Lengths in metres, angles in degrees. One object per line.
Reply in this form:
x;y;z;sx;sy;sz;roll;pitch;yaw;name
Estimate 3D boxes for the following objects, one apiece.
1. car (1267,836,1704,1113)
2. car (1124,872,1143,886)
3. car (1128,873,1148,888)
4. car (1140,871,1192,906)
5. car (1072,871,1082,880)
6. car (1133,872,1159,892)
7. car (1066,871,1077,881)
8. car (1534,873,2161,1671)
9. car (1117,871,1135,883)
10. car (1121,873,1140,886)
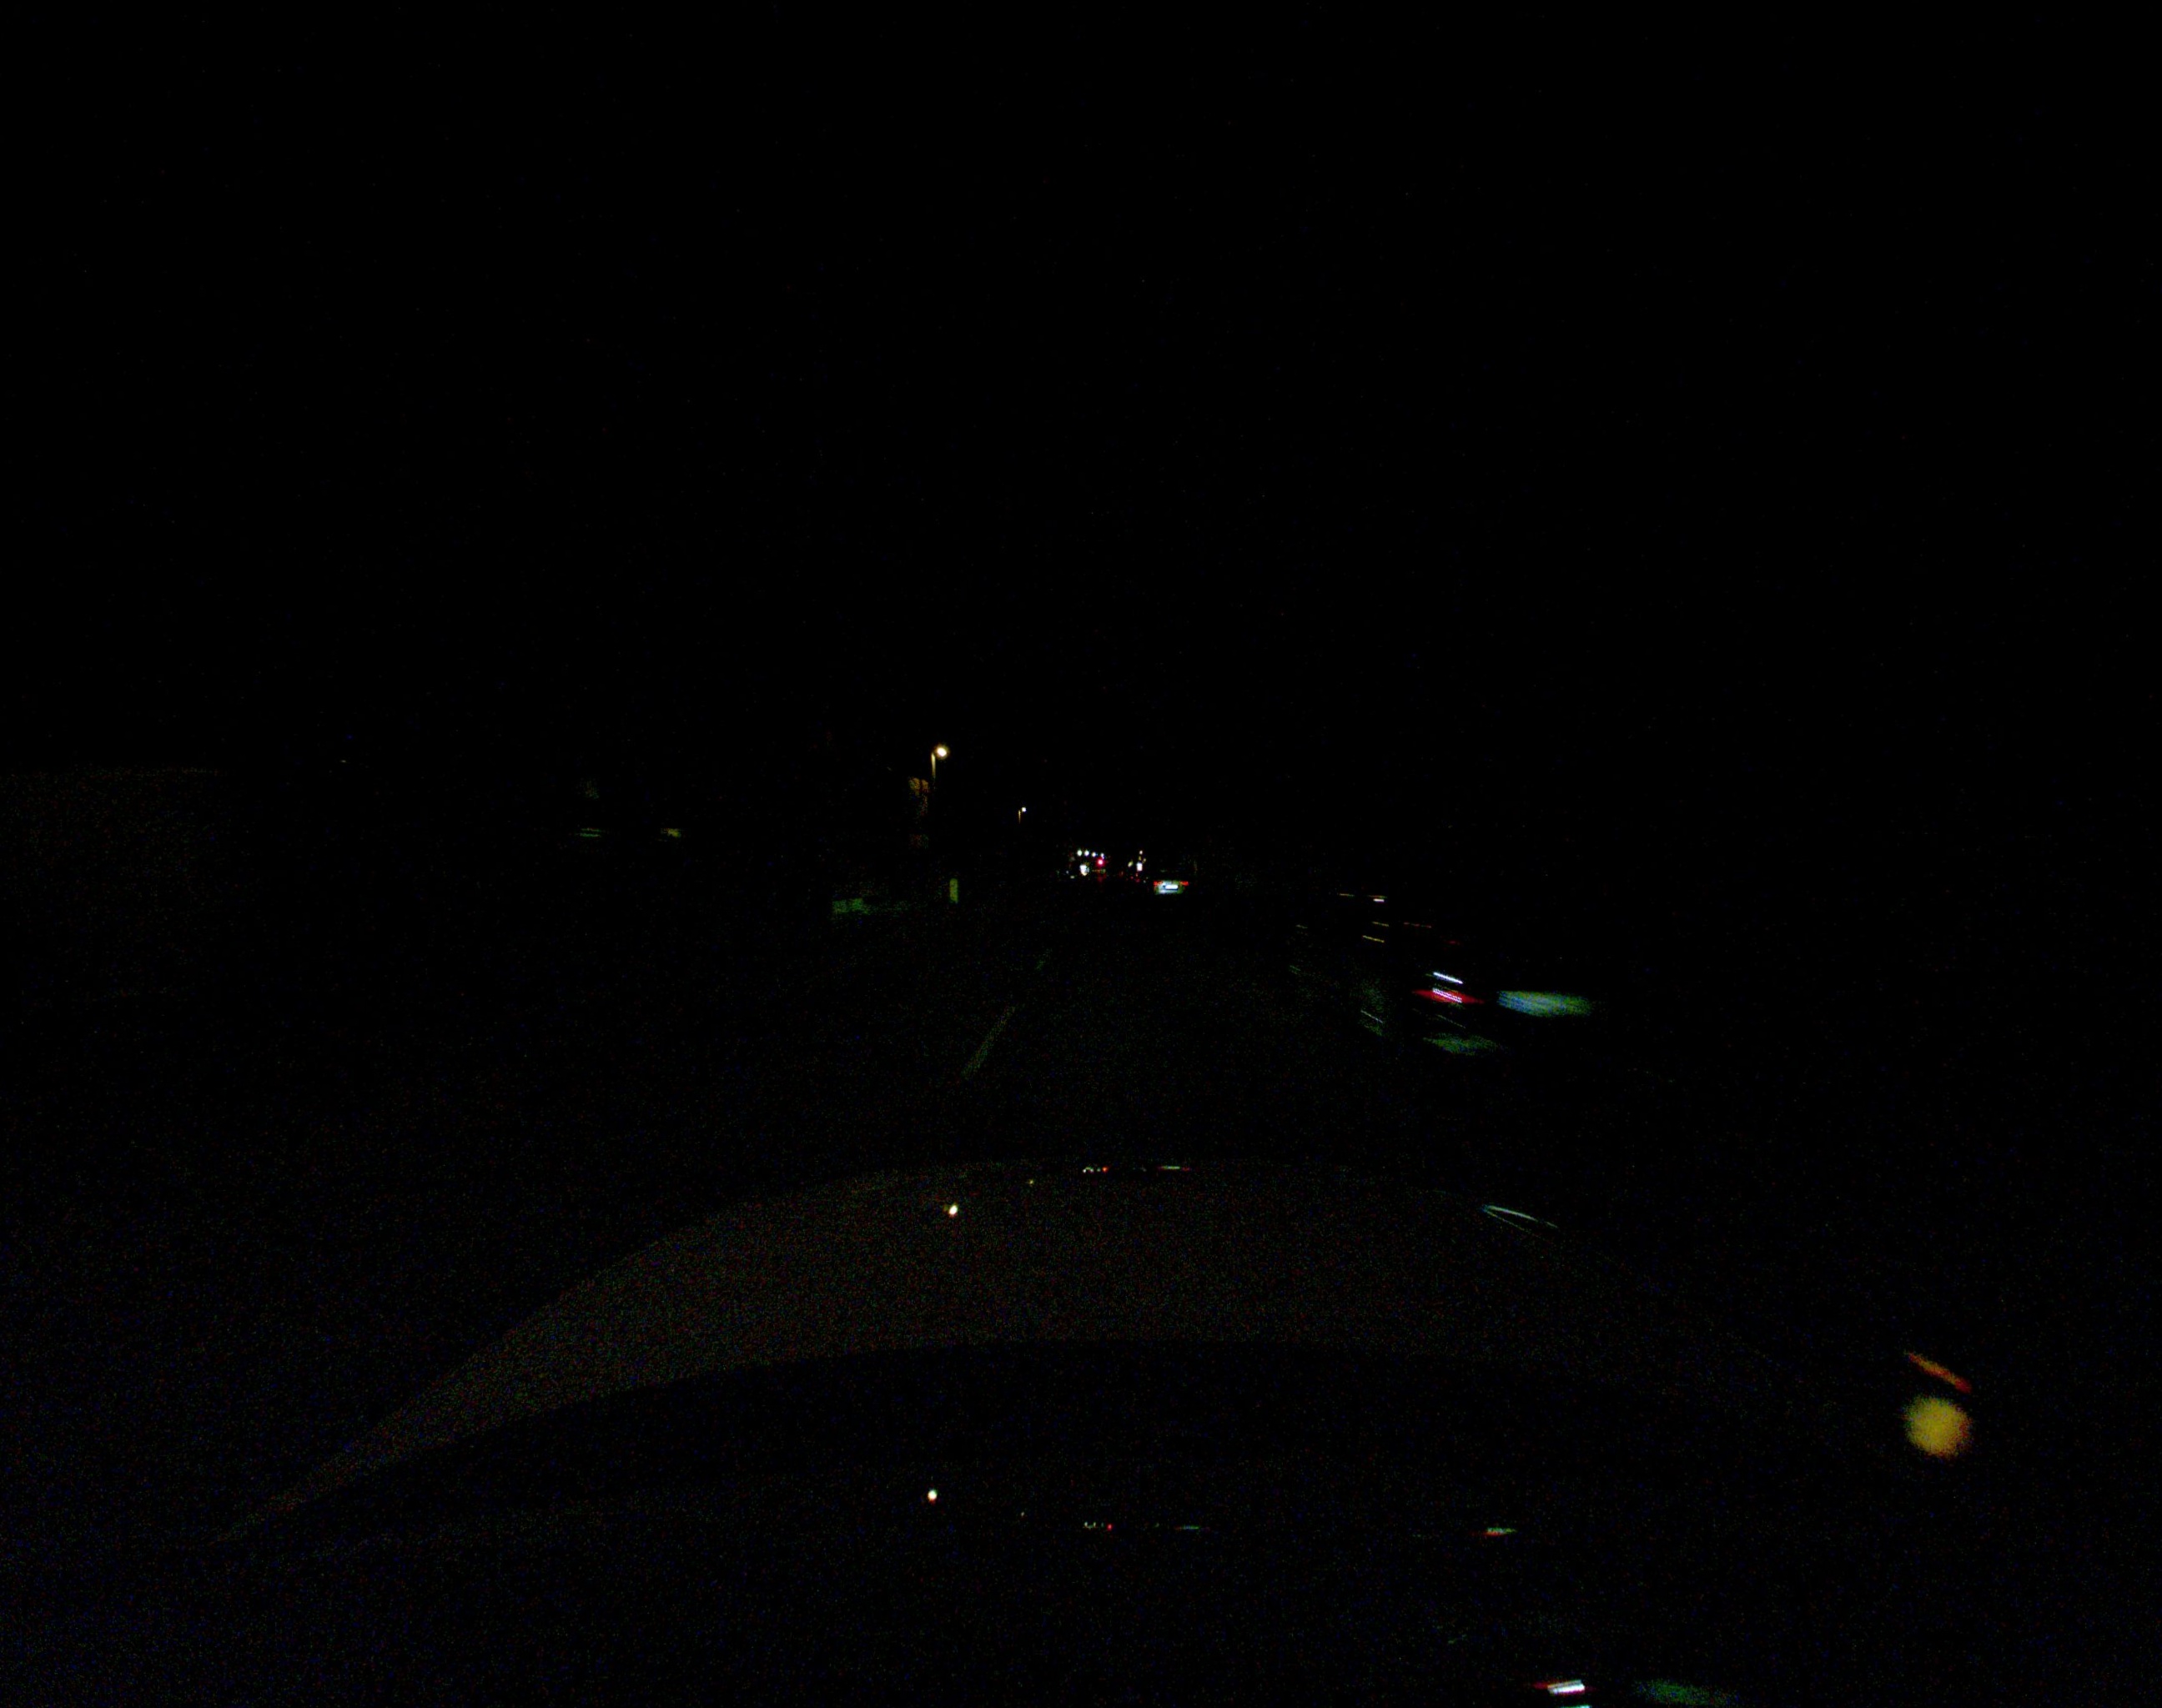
2.976;0.780;7.271;1.824;1.664;4.623;-1;-1;4;car
5.406;2.596;84.623;1.677;1.449;3.998;0;-1;0;car
5.581;2.585;79.769;1.859;1.403;4.006;0;-1;6;car
3.774;1.502;36.856;1.758;1.476;4.272;1;-1;-2;car
-0.663;3.803;143.902;1.747;1.539;3.730;-1;-1;0;car
4.745;2.065;60.195;1.624;1.439;3.864;-1;-1;0;car
-1.503;3.412;126.792;1.748;1.539;3.728;-1;-1;-2;car
2.923;0.819;1.645;1.737;1.471;4.257;1;0;1;car
5.542;2.858;99.875;1.679;1.449;3.993;0;-1;-5;car
5.764;2.946;95.222;1.679;1.449;3.995;0;-1;-3;car
